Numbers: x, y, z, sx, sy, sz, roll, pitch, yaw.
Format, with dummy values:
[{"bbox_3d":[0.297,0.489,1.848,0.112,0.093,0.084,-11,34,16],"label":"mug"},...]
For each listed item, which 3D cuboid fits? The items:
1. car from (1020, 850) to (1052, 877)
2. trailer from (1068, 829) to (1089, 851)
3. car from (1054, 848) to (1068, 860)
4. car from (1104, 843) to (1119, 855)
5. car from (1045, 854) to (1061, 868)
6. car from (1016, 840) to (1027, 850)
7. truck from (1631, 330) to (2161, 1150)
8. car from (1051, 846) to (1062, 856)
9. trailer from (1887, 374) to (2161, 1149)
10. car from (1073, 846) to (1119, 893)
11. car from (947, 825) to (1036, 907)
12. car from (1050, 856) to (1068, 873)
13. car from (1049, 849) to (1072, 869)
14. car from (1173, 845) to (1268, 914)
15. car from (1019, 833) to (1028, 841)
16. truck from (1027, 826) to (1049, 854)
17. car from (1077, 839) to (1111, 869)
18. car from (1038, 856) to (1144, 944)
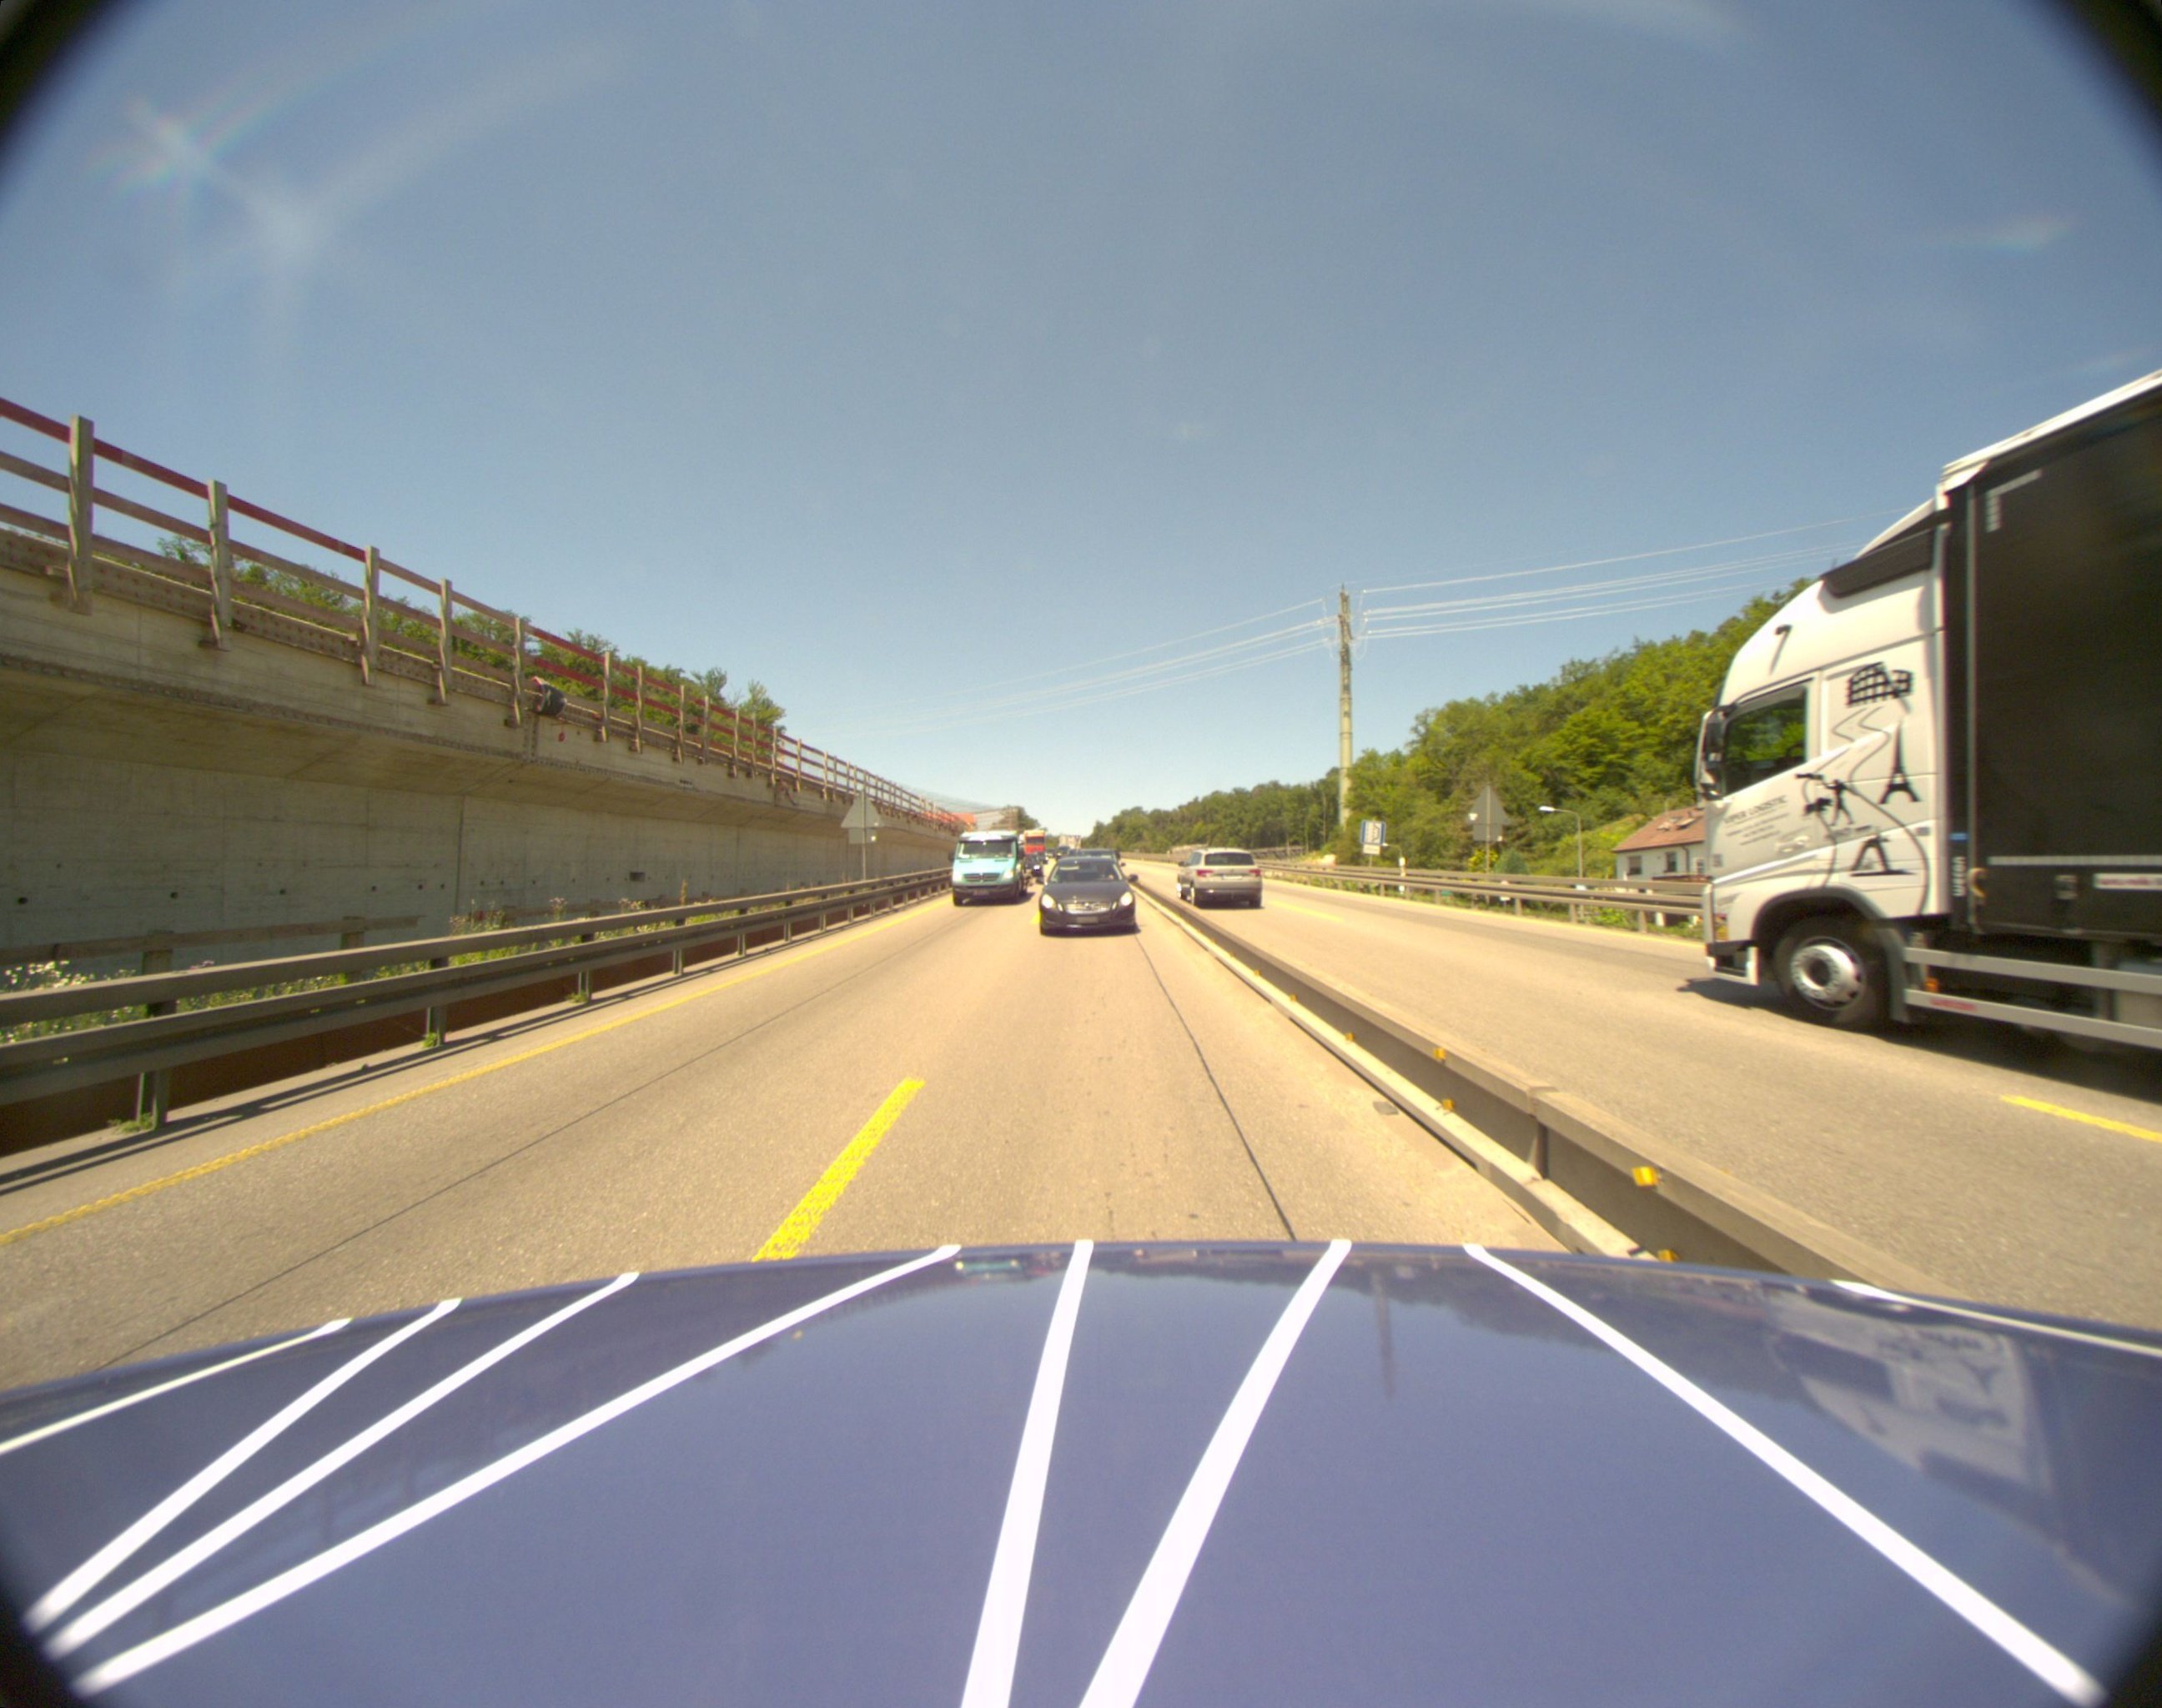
[{"bbox_3d":[-2.669,0.548,46.103,1.739,1.401,3.584,-2,1,-1],"label":"car"},{"bbox_3d":[-0.652,-2.921,157.579,3.261,4.354,14.049,-2,1,-4],"label":"trailer"},{"bbox_3d":[-2.424,-0.018,93.023,1.586,1.366,3.344,-2,1,0],"label":"car"},{"bbox_3d":[3.987,-0.691,99.763,1.846,1.410,4.685,0,1,0],"label":"car"},{"bbox_3d":[-2.985,0.752,81.619,1.647,1.366,3.344,-2,1,0],"label":"car"},{"bbox_3d":[-10.425,-1.533,134.085,1.586,1.660,3.344,-2,1,0],"label":"car"},{"bbox_3d":[7.054,-0.623,5.366,2.758,4.258,4.957,-2,0,2],"label":"truck"},{"bbox_3d":[-3.907,-0.489,120.398,1.586,1.366,3.344,-2,1,0],"label":"car"},{"bbox_3d":[7.002,-0.523,1.275,2.764,4.046,8.007,-2,0,1],"label":"trailer"},{"bbox_3d":[0.501,0.510,27.778,1.520,1.543,3.859,-1,1,0],"label":"car"},{"bbox_3d":[-2.797,0.274,25.416,2.217,2.313,6.899,-1,1,-1],"label":"car"},{"bbox_3d":[-2.077,0.935,70.757,1.647,1.366,3.343,-2,1,-2],"label":"car"},{"bbox_3d":[-1.582,0.361,59.770,1.647,1.366,3.344,-2,1,0],"label":"car"},{"bbox_3d":[3.745,0.616,21.073,1.864,1.602,4.068,-2,1,0],"label":"car"},{"bbox_3d":[-11.898,-3.580,158.521,1.586,1.666,3.344,-2,1,0],"label":"car"},{"bbox_3d":[-5.918,-1.885,102.439,2.472,3.464,9.861,-2,1,-5],"label":"truck"},{"bbox_3d":[0.690,-0.033,42.973,1.736,1.558,3.618,-2,1,-1],"label":"car"},{"bbox_3d":[0.051,0.826,15.800,1.844,1.475,4.560,-1,1,-4],"label":"car"}]
